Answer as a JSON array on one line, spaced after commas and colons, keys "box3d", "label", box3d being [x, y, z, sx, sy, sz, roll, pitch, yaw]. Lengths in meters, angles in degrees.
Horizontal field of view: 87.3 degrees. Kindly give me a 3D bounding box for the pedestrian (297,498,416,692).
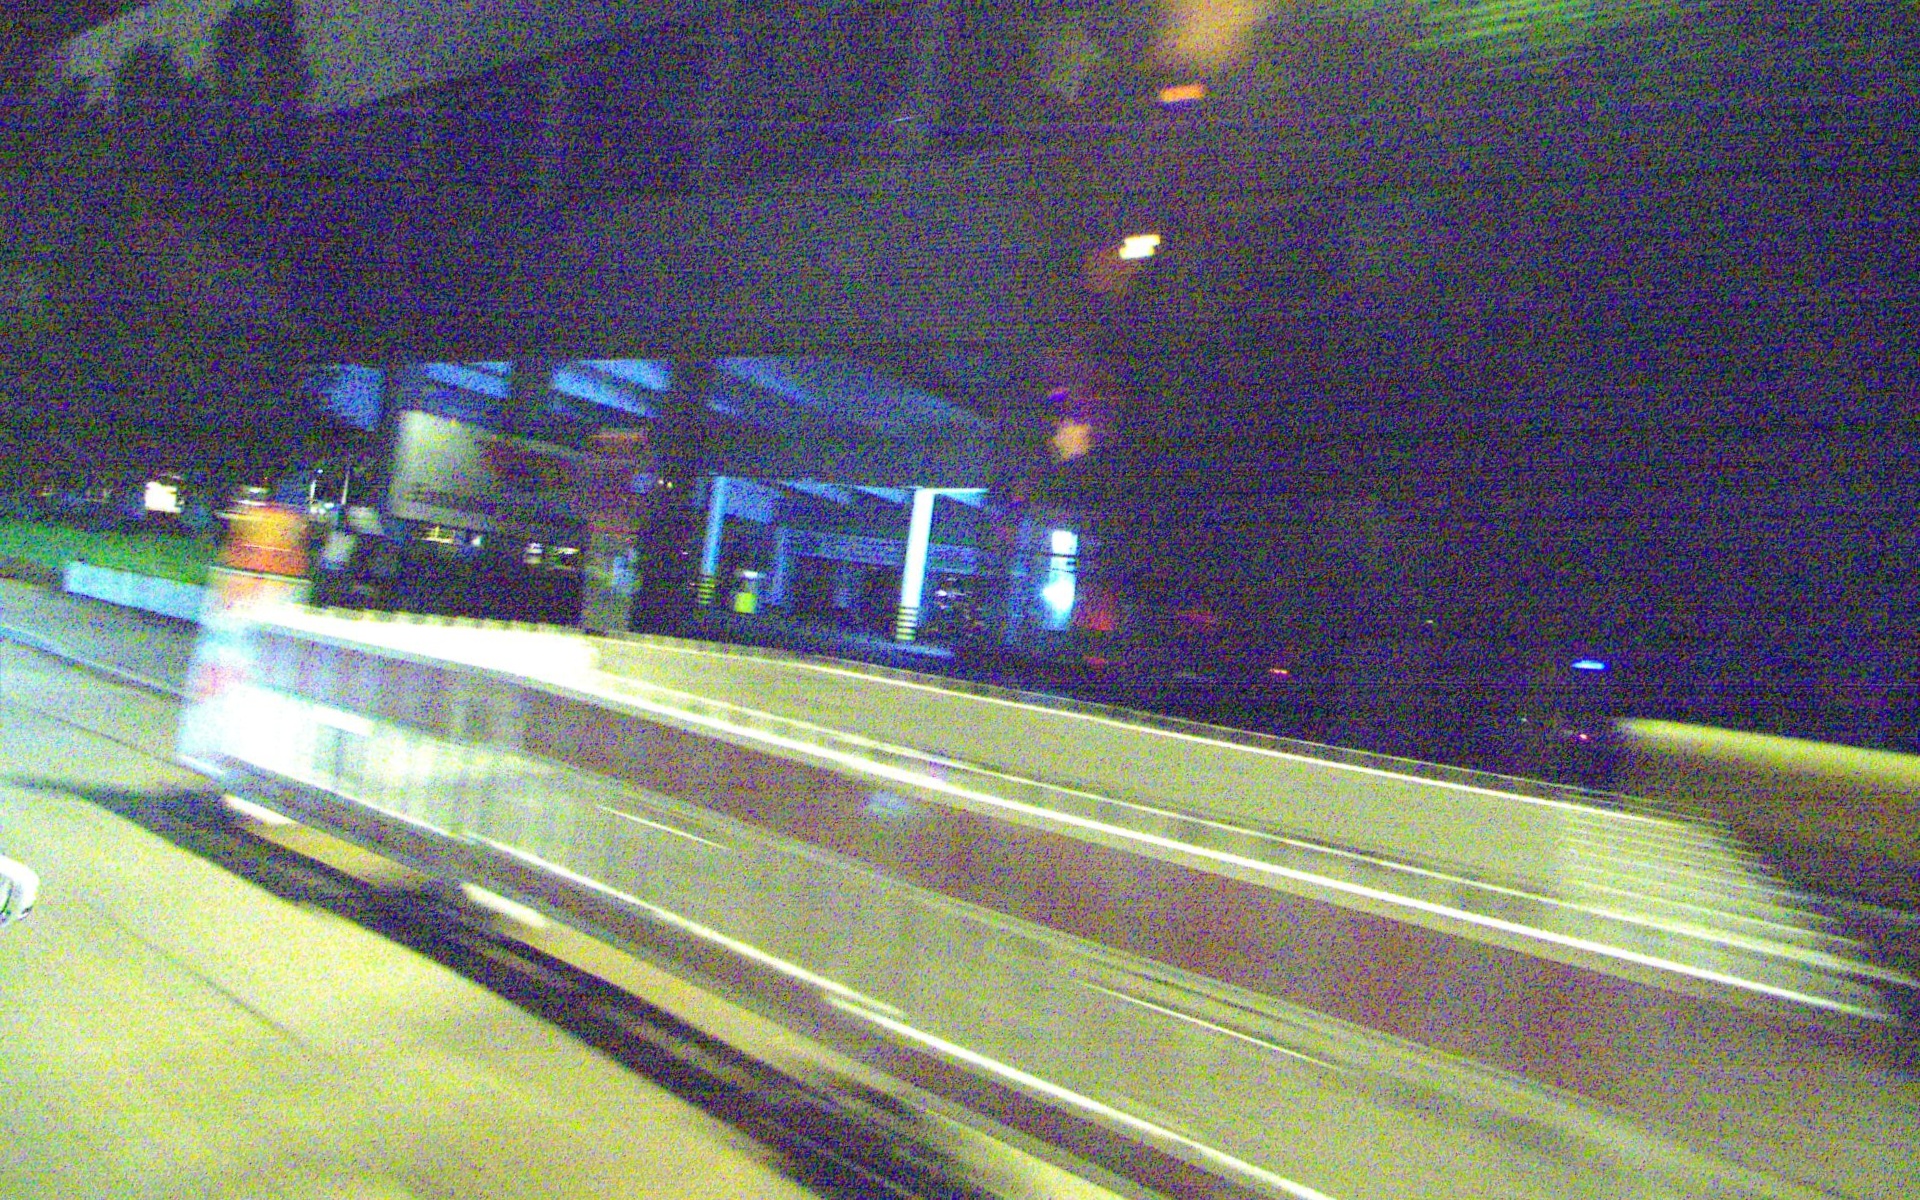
[{"box3d": [-6.176, -0.046, 10.300, 0.806, 1.875, 0.571, 7, 0, 32], "label": "pedestrian"}]
